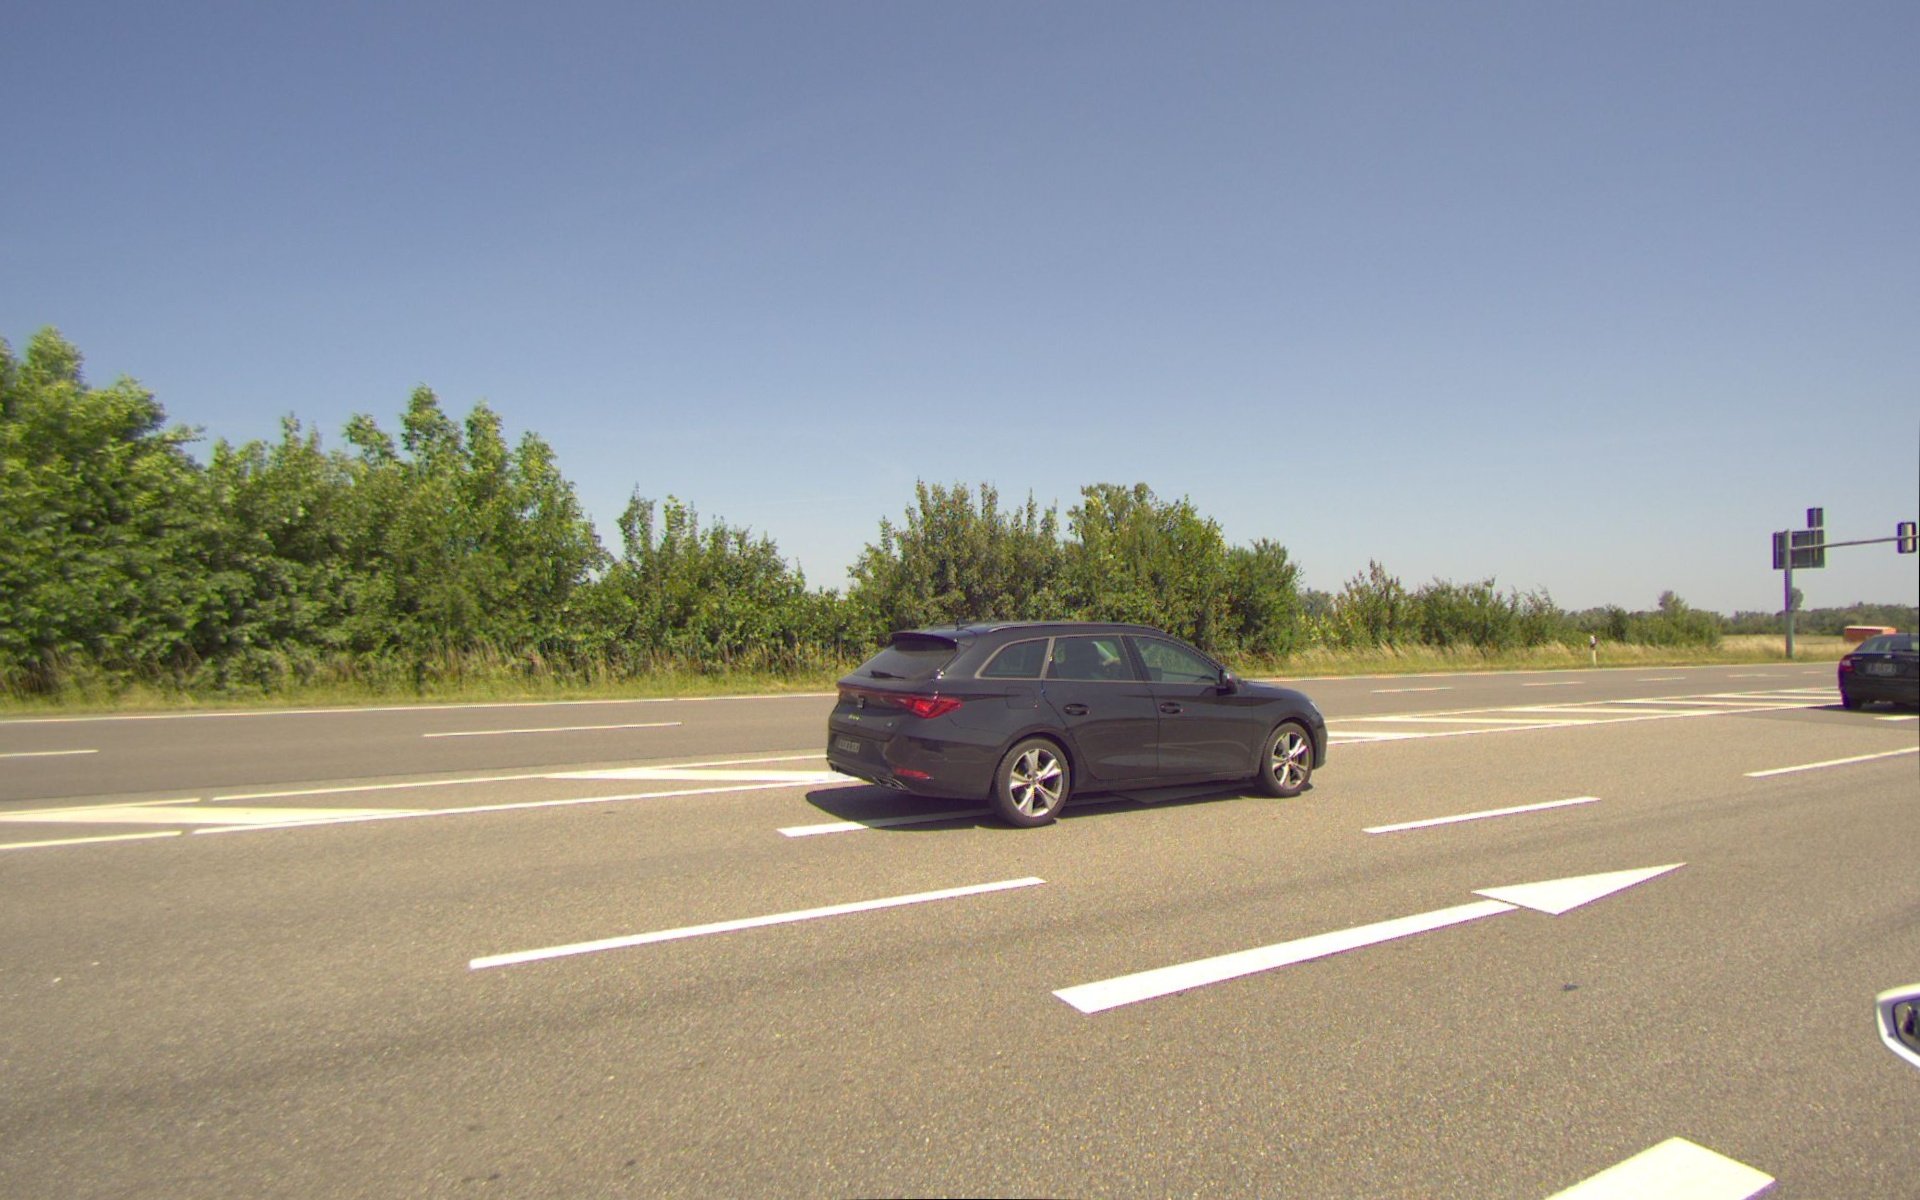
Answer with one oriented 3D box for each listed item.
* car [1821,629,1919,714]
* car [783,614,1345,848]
[{"bbox_3d":[18.220,1.323,19.026,4.417,1.430,1.666,2,-1,-32],"label":"car"},{"bbox_3d":[0.979,0.895,8.384,4.476,1.466,1.879,2,-1,-32],"label":"car"}]
